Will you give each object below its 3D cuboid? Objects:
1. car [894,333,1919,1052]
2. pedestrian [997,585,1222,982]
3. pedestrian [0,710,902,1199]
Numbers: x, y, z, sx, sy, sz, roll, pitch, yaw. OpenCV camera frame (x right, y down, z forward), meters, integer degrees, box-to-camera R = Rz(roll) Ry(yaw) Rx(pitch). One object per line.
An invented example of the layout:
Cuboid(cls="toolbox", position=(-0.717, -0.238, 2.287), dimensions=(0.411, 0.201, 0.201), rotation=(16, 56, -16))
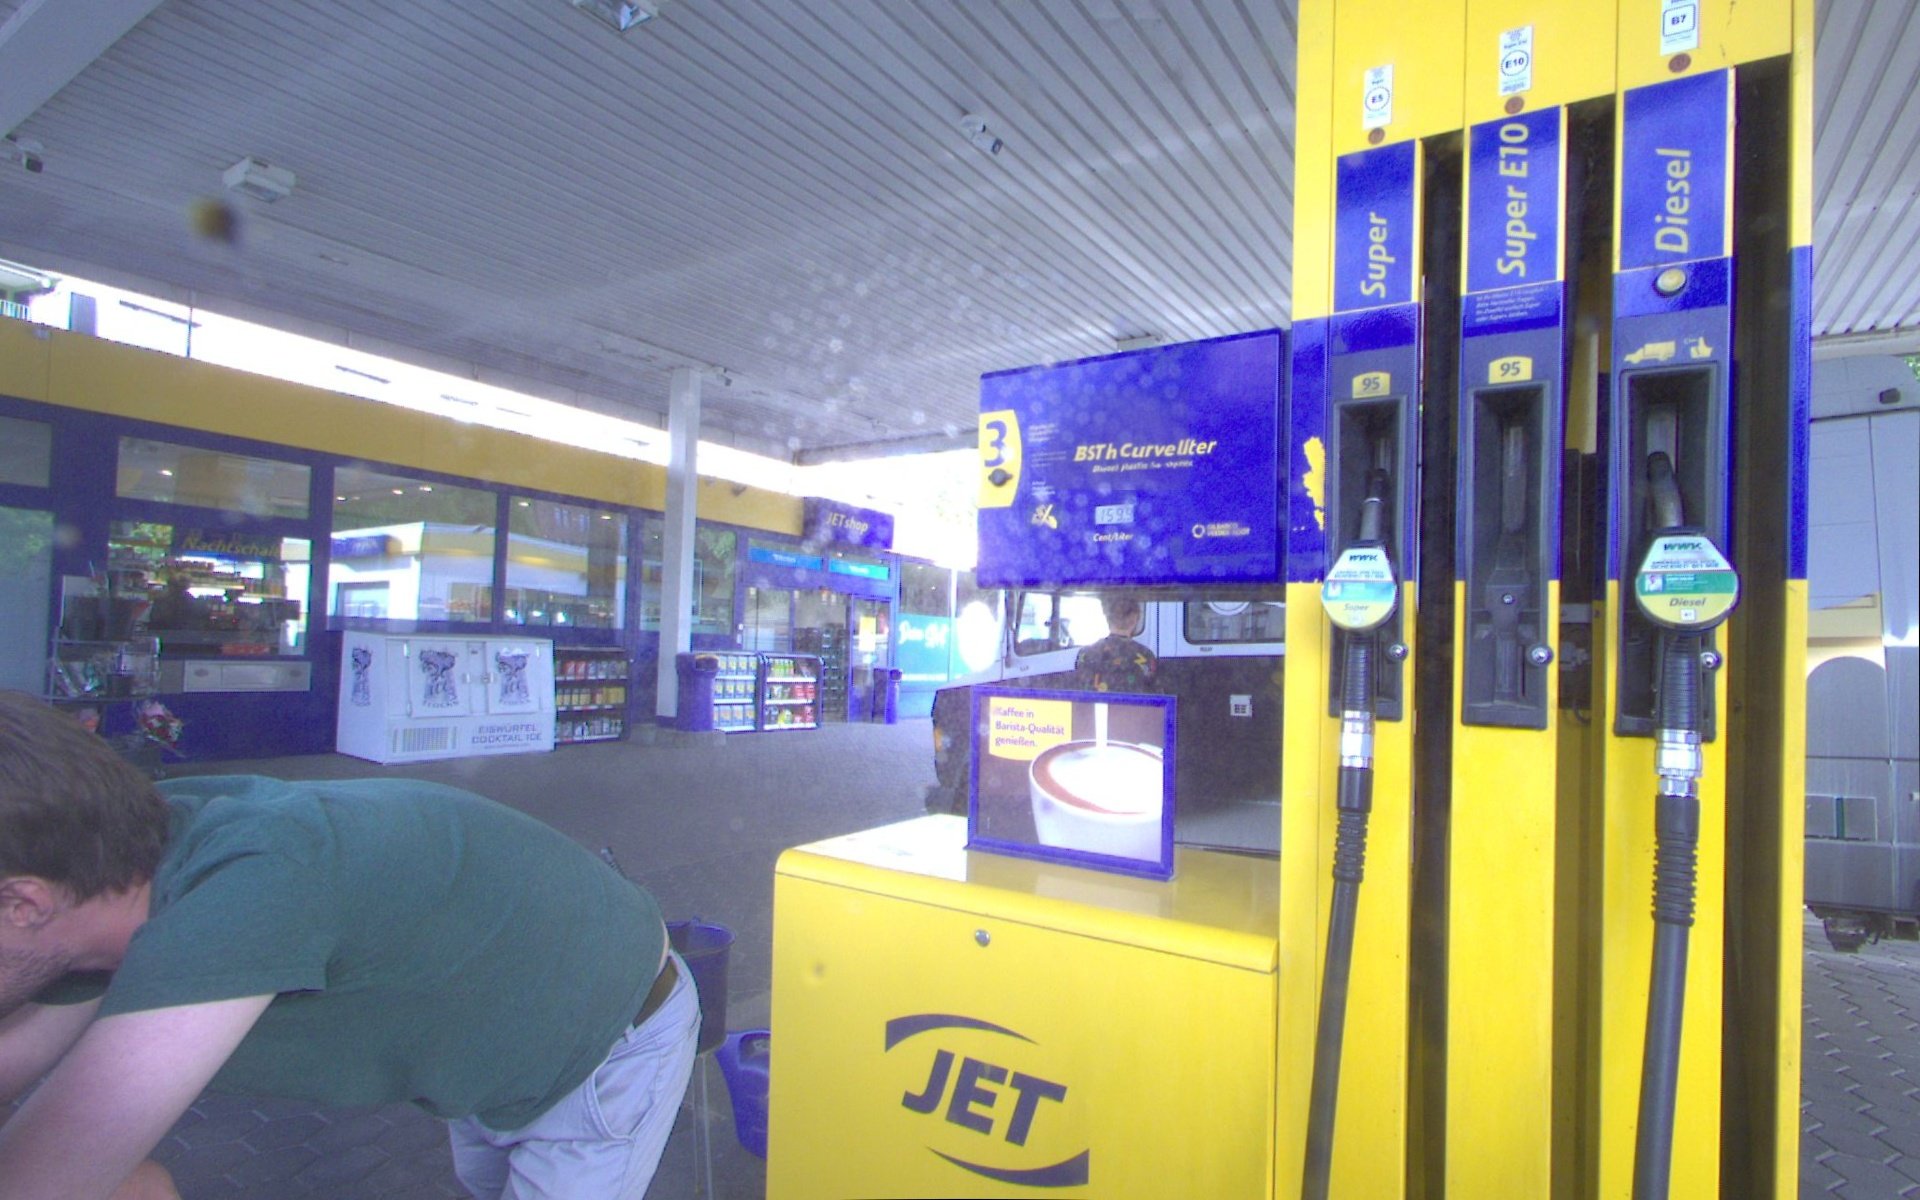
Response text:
Cuboid(cls="car", position=(2.378, 0.409, 6.017), dimensions=(5.219, 2.724, 2.250), rotation=(0, -3, 34))
Cuboid(cls="pedestrian", position=(0.798, 0.846, 5.141), dimensions=(0.963, 1.785, 0.978), rotation=(-1, -1, 21))
Cuboid(cls="pedestrian", position=(-0.544, 0.804, 1.072), dimensions=(0.664, 1.298, 0.749), rotation=(-1, -1, 31))
